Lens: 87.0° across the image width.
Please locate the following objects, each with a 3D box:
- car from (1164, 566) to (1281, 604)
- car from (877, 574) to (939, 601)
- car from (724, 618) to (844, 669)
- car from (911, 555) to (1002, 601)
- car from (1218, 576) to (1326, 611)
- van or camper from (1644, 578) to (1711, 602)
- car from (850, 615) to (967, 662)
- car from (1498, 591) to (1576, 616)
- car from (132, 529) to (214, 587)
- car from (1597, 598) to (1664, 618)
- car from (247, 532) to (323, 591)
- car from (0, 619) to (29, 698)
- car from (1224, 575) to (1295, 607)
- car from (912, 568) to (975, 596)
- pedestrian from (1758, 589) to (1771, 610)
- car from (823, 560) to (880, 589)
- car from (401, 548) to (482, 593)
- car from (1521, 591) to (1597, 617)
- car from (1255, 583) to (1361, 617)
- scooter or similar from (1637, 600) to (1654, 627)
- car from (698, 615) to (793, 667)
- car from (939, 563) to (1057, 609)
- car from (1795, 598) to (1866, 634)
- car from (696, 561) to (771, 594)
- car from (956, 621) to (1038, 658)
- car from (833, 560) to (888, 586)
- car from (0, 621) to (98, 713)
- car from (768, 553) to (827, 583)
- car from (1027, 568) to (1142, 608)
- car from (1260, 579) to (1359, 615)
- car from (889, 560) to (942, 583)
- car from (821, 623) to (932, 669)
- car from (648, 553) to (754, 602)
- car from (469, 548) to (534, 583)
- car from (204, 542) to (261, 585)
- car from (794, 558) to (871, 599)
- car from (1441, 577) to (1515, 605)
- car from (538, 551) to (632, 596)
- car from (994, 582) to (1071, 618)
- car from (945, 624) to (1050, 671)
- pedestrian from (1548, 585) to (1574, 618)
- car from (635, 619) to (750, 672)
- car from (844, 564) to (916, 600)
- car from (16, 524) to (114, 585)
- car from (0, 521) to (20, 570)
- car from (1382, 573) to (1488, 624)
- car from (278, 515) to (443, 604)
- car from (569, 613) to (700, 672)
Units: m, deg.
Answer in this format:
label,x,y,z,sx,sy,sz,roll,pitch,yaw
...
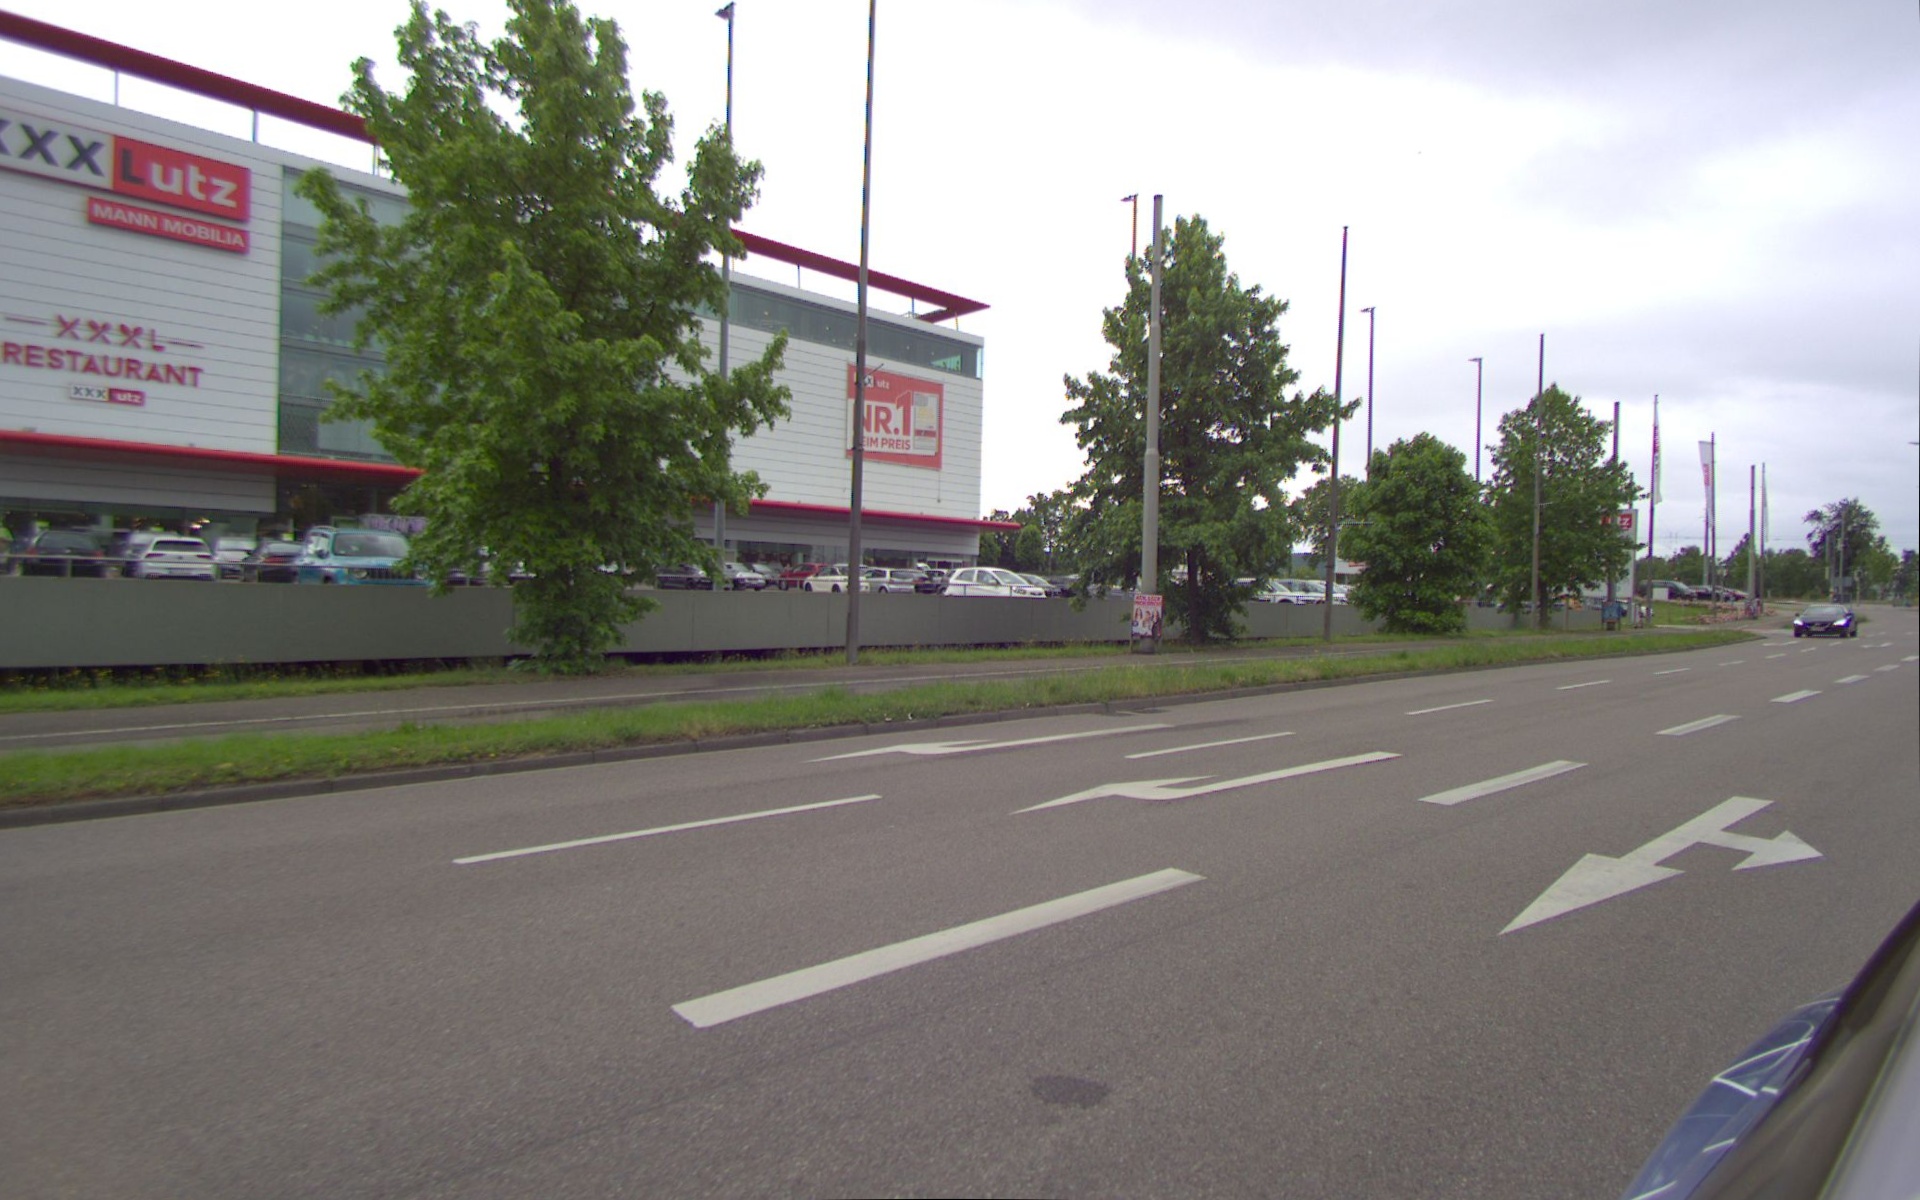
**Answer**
label,x,y,z,sx,sy,sz,roll,pitch,yaw
car,10.326,-0.589,40.025,1.779,1.367,4.157,3,-1,-43
car,-3.199,-0.769,62.094,1.744,1.581,3.996,3,-1,-39
car,-4.650,1.096,26.439,1.489,1.146,3.519,0,0,-41
car,-0.214,-1.009,47.469,1.966,2.039,4.181,1,0,-42
car,13.197,-0.281,42.975,1.733,1.367,4.059,3,-1,-43
van or camper,68.569,-1.002,96.769,2.080,2.038,4.763,-2,4,-26
car,-1.510,1.055,28.701,1.430,1.146,3.519,0,0,-41
car,36.829,0.223,64.695,1.783,1.473,3.994,0,1,-41
car,-23.124,-1.201,29.710,1.751,1.527,3.852,2,0,-39
car,53.180,0.643,80.333,1.844,1.464,4.111,3,-1,-43
car,-20.817,-1.146,31.173,1.669,1.654,3.642,3,-1,-37
car,-19.447,1.108,19.743,1.733,1.367,4.061,0,0,-41
car,17.882,-0.562,60.588,1.703,1.790,3.744,3,-1,-40
car,-1.091,-1.142,63.709,1.848,1.631,3.996,3,-1,-39
pedestrian,63.328,-0.060,79.645,0.711,1.616,0.775,1,3,31
car,-6.316,-1.479,58.723,1.707,1.607,3.578,0,1,-37
car,-17.526,-0.976,34.118,1.670,1.373,3.640,3,-1,-39
car,40.271,0.250,68.105,1.782,1.664,3.998,0,1,-37
car,15.372,-0.024,44.863,1.803,1.367,4.059,3,-1,-43
scooter or similar,31.417,0.609,46.384,1.227,1.206,0.370,1,0,-43
car,-8.718,1.611,40.899,1.964,1.855,4.376,0,0,-40
car,1.165,-0.452,31.920,3.513,1.324,1.581,2,-1,43
car,38.111,0.664,44.279,4.272,1.408,1.995,-1,2,-44
car,-12.011,-1.172,53.500,1.835,1.606,4.287,3,-1,-45
car,1.801,1.929,50.274,1.754,1.643,3.989,0,1,-44
car,-6.665,-1.776,67.260,1.712,1.574,3.777,3,-1,-41
car,-21.771,1.499,23.998,1.964,1.855,4.376,0,0,-40
car,-9.299,-1.802,57.826,1.710,1.574,3.803,3,-1,-37
car,4.571,-0.464,37.597,1.733,1.367,4.059,3,-1,-43
car,16.363,-0.173,47.541,1.732,1.560,4.062,3,-1,-40
car,-3.222,-2.054,72.955,1.799,1.574,3.798,3,-1,-42
car,-2.943,1.540,35.144,1.734,1.367,4.058,0,0,-43
car,-9.441,-0.820,36.665,1.964,1.612,4.377,3,0,-40
car,-20.670,-1.525,45.548,1.671,1.411,3.693,3,-1,-41
car,-28.348,-1.396,39.377,1.669,1.515,3.642,3,-1,-37
car,-5.878,-0.983,46.488,1.702,1.723,3.744,3,-1,-40
car,42.767,-0.758,83.706,2.083,2.192,5.050,0,2,-37
car,-14.234,-0.985,38.348,1.816,1.538,4.234,3,-1,-43
car,3.839,-0.020,54.067,1.807,1.743,3.994,4,-1,-40
car,1.391,1.770,39.072,1.733,1.571,4.059,0,0,-42
pedestrian,32.347,0.088,54.464,0.870,1.741,0.940,3,-1,-43
car,-8.028,1.304,30.160,1.733,1.367,4.062,0,0,-40
car,-3.791,-0.845,47.823,1.583,1.545,3.570,3,-1,-40
car,-24.712,-1.229,28.051,1.751,1.527,3.853,2,0,-38
car,-33.327,-1.864,34.395,1.571,1.575,3.642,3,-1,-37
car,25.833,-0.086,55.163,2.132,2.612,4.732,3,-1,-40
car,-11.888,-0.755,19.965,4.069,1.544,1.783,2,0,44
car,-7.455,0.917,23.018,1.578,1.146,3.519,0,0,-41
